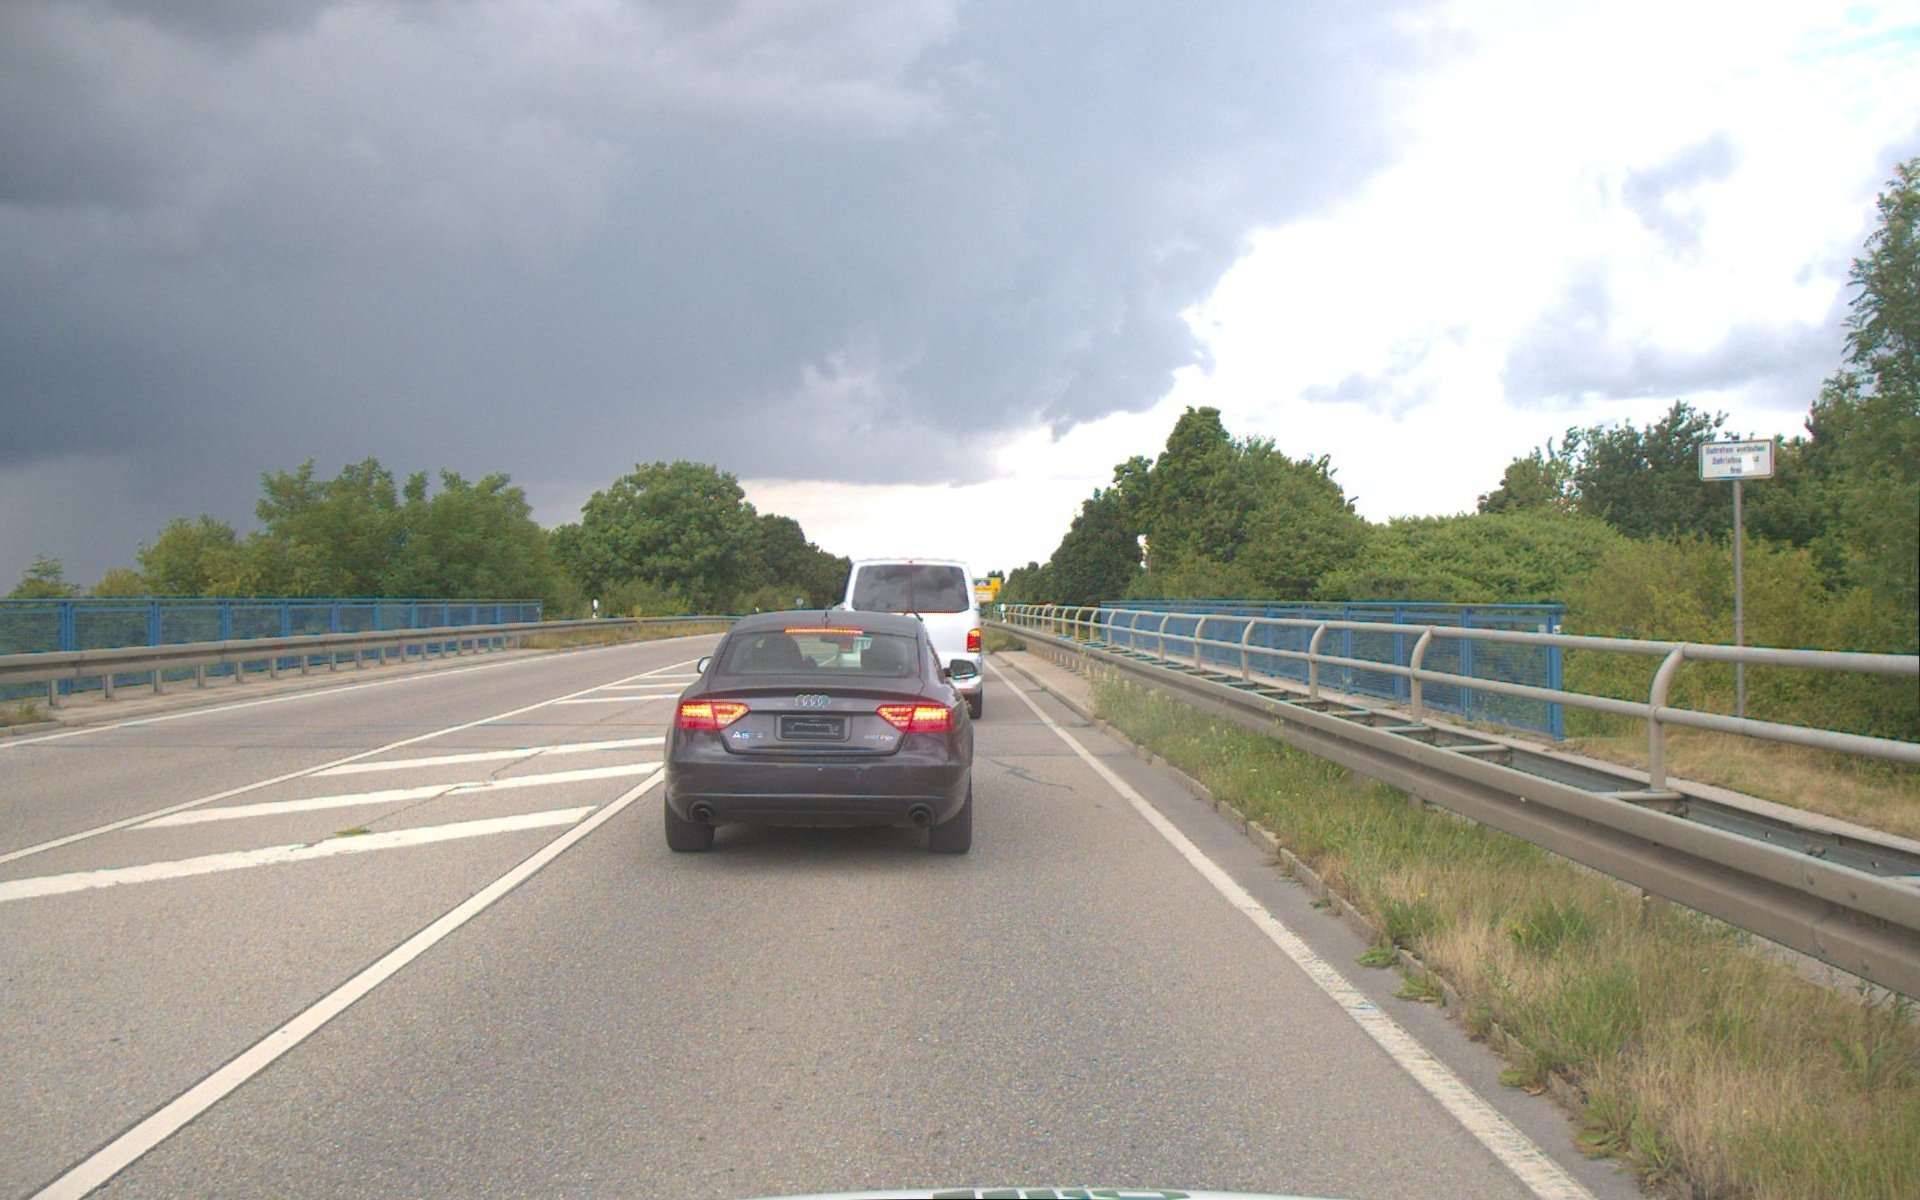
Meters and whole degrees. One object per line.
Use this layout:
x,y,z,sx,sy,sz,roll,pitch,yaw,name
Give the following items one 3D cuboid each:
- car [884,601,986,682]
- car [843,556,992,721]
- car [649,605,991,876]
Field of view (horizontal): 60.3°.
-0.450,0.726,30.944,1.784,1.405,4.071,0,0,0,car
-0.562,0.465,21.845,1.791,1.969,3.999,0,0,-2,car
-0.749,0.749,10.757,1.784,1.405,4.071,1,0,0,car
